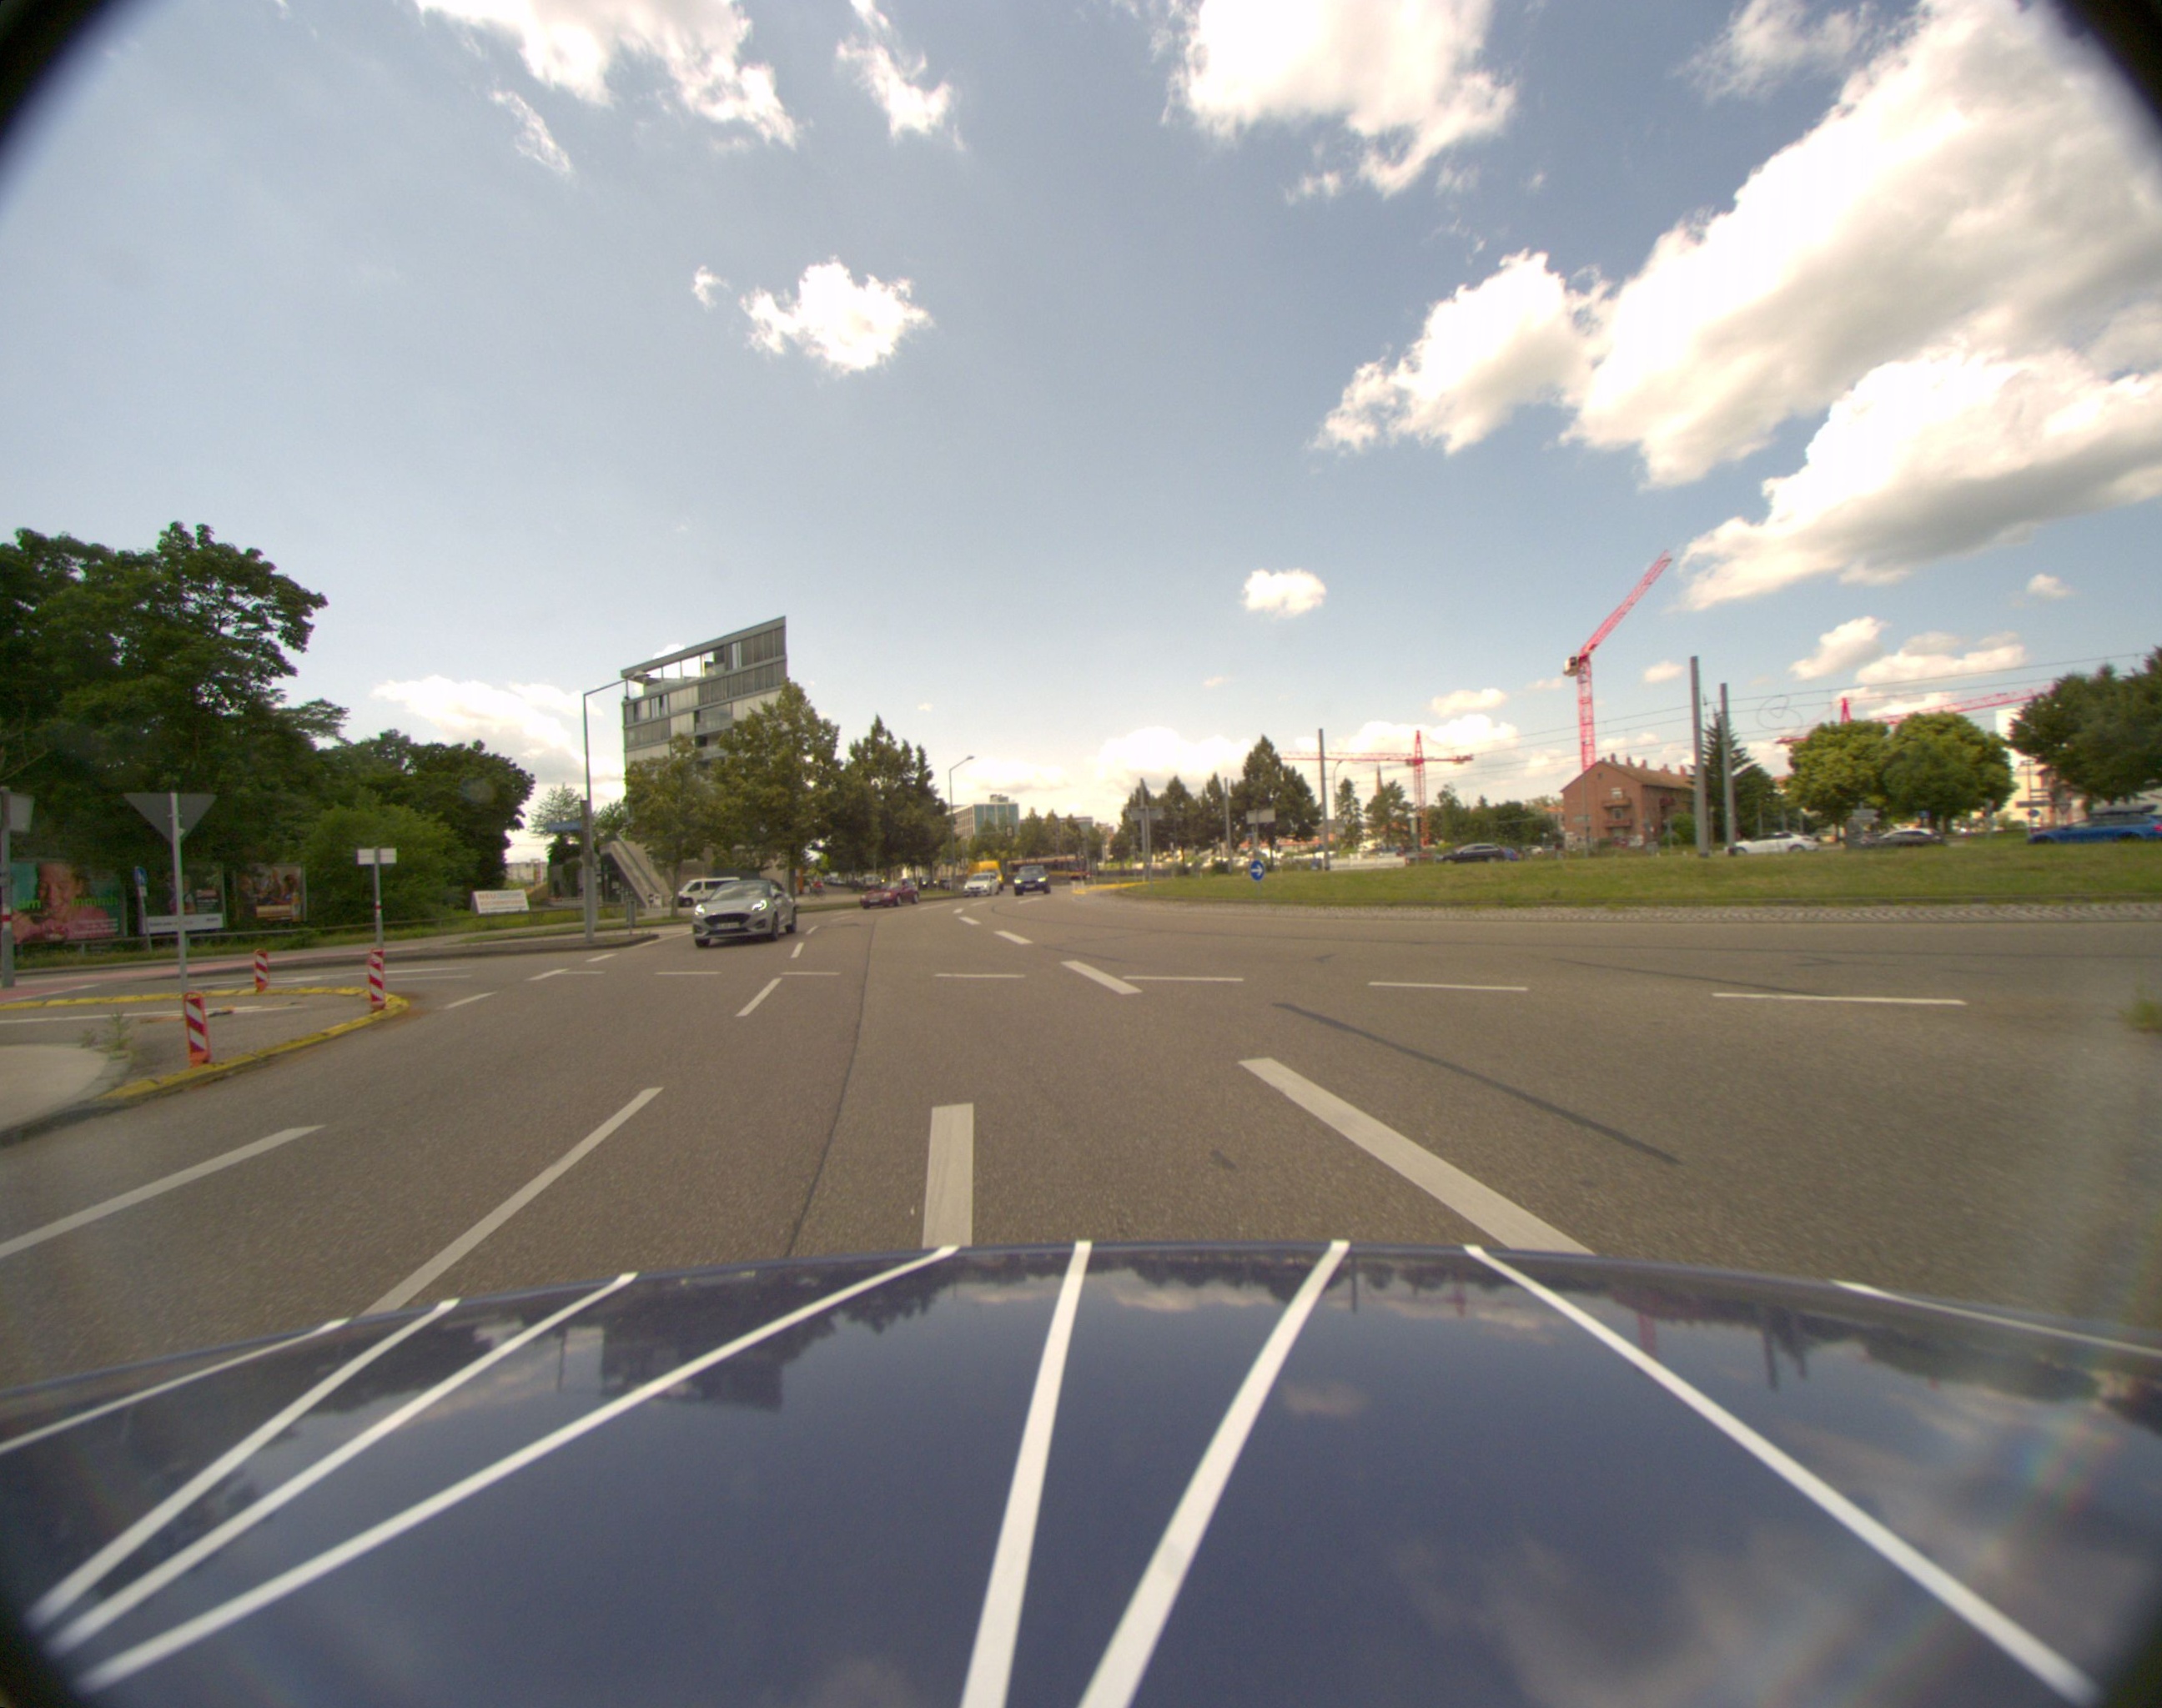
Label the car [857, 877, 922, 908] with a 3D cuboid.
[{"bbox_3d":[-9.273,1.854,37.197,1.673,1.254,4.094,-3,0,7],"label":"car"}]

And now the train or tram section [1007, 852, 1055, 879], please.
[{"bbox_3d":[-7.587,1.819,112.562,2.698,3.616,14.642,-3,-1,-21],"label":"train or tram section"}]

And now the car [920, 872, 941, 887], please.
[{"bbox_3d":[-19.828,3.358,99.779,2.001,1.751,4.289,-5,0,-19],"label":"car"}]

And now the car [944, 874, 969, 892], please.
[{"bbox_3d":[-14.404,3.312,87.493,2.001,1.751,4.289,-5,0,-19],"label":"car"}]

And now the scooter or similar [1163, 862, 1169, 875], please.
[{"bbox_3d":[9.082,1.562,80.812,0.419,1.295,1.345,-3,2,0],"label":"scooter or similar"}]

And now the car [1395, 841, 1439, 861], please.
[{"bbox_3d":[39.883,-0.301,90.427,2.392,2.184,6.841,-3,-1,3],"label":"car"}]

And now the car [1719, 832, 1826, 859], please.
[{"bbox_3d":[41.272,-0.504,45.452,2.003,1.321,4.302,-3,-1,-33],"label":"car"}]

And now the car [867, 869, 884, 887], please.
[{"bbox_3d":[-30.513,3.500,112.669,2.164,2.380,6.270,-5,0,-17],"label":"car"}]

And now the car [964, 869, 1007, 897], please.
[{"bbox_3d":[-6.609,1.987,52.982,1.673,1.589,4.131,-5,0,10],"label":"car"}]

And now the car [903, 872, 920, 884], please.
[{"bbox_3d":[-25.757,3.648,115.420,2.001,1.681,4.289,-5,0,-19],"label":"car"}]

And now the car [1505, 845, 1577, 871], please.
[{"bbox_3d":[36.110,0.341,59.662,4.714,1.780,1.852,-4,-1,33],"label":"car"}]

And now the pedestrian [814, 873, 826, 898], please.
[{"bbox_3d":[-21.576,2.594,62.773,0.755,2.002,1.230,-3,0,-20],"label":"pedestrian"}]

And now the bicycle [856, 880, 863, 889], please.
[{"bbox_3d":[-26.692,3.721,91.634,0.517,1.082,1.746,-2,-1,-24],"label":"bicycle"}]

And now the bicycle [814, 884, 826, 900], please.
[{"bbox_3d":[-21.474,3.110,62.589,0.813,1.237,2.407,-3,-1,-21],"label":"bicycle"}]

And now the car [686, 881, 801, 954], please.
[{"bbox_3d":[-8.339,1.487,19.116,1.675,1.462,4.089,-3,0,-11],"label":"car"}]

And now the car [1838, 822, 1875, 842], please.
[{"bbox_3d":[73.562,-2.084,72.061,4.952,1.616,2.062,-3,-2,-41],"label":"car"}]

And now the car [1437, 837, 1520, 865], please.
[{"bbox_3d":[28.599,-0.177,54.862,5.060,1.664,2.003,-4,-1,21],"label":"car"}]

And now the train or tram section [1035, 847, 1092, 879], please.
[{"bbox_3d":[-2.499,1.246,99.518,2.854,3.717,13.456,-3,-1,-21],"label":"train or tram section"}]

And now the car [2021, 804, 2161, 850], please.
[{"bbox_3d":[46.093,-1.208,34.204,1.756,1.787,4.405,-3,-1,-10],"label":"car"}]

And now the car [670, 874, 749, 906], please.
[{"bbox_3d":[-29.541,2.864,60.527,5.161,2.135,2.144,-3,-1,-40],"label":"car"}]

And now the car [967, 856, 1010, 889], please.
[{"bbox_3d":[-8.802,1.737,71.549,2.287,2.836,7.244,-3,0,-21],"label":"car"}]

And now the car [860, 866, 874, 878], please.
[{"bbox_3d":[-32.969,2.738,117.071,1.825,1.641,3.996,-5,0,-14],"label":"car"}]

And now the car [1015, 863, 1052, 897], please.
[{"bbox_3d":[-2.610,1.387,42.396,1.774,1.589,4.127,-5,1,-1],"label":"car"}]

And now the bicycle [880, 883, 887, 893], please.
[{"bbox_3d":[-17.775,3.066,68.366,0.359,0.821,1.471,-3,-1,-27],"label":"bicycle"}]

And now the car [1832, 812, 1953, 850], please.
[{"bbox_3d":[50.617,-1.377,47.498,2.003,2.001,4.717,-3,-1,-27],"label":"car"}]
